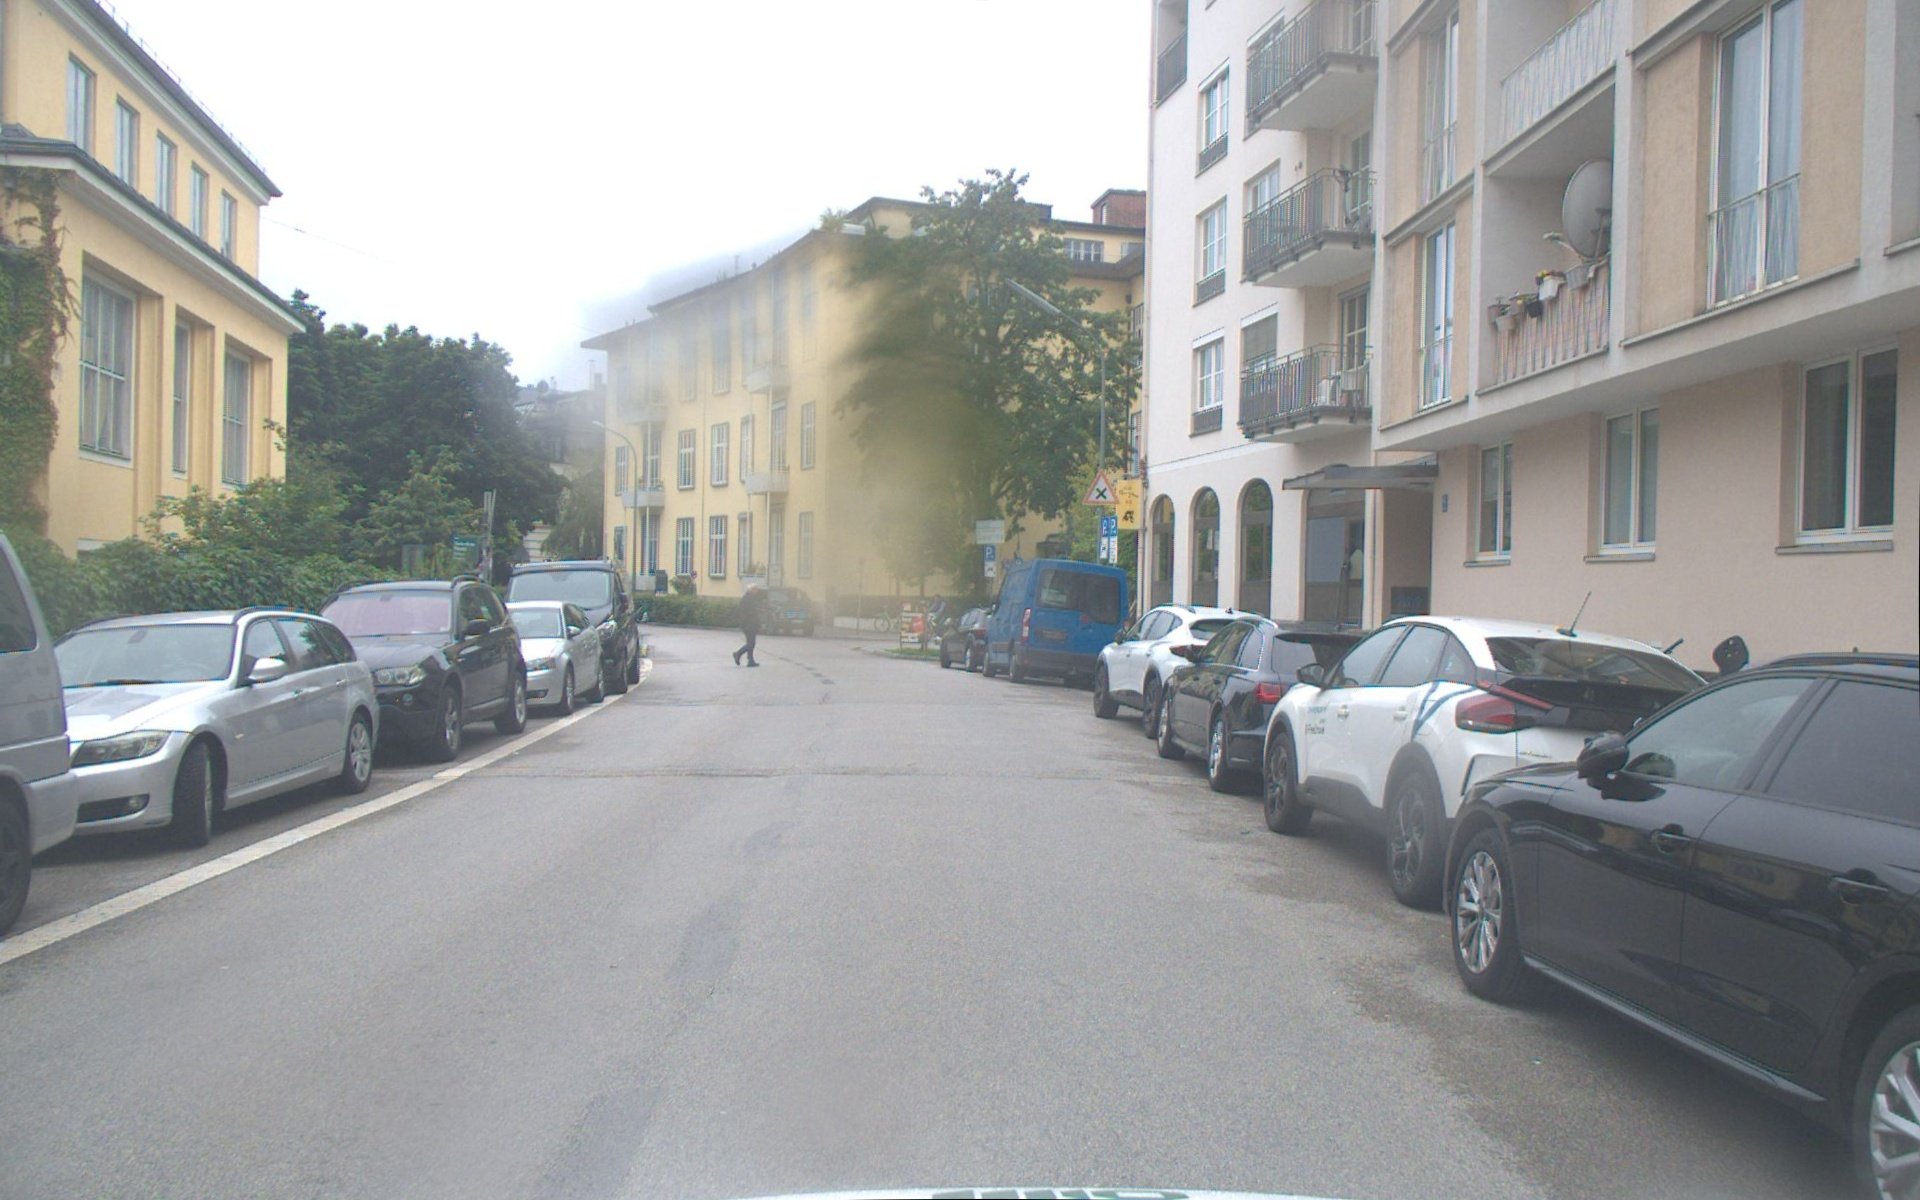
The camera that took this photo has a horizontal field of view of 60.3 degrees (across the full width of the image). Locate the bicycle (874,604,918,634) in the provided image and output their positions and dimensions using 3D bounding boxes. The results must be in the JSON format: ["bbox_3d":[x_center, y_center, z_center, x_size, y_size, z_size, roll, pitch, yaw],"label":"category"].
[{"bbox_3d":[-2.688,0.786,69.526,1.889,1.222,0.593,2,0,35],"label":"bicycle"}]

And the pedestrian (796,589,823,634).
[{"bbox_3d":[-6.252,0.476,68.658,0.862,1.855,0.793,1,0,-22],"label":"pedestrian"}]

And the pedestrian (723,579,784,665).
[{"bbox_3d":[-4.510,0.481,36.085,0.918,1.832,0.951,-2,-2,40],"label":"pedestrian"}]

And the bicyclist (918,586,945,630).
[{"bbox_3d":[-1.064,0.294,61.882,0.848,1.636,0.944,1,-1,-11],"label":"bicyclist"}]

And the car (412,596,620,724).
[{"bbox_3d":[-5.645,0.692,21.554,1.660,1.417,4.498,-1,1,-3],"label":"car"}]

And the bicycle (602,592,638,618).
[{"bbox_3d":[-17.950,0.262,87.429,0.717,1.328,2.155,1,0,25],"label":"bicycle"}]

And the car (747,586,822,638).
[{"bbox_3d":[-7.295,0.481,68.412,1.739,1.907,4.348,5,-1,-23],"label":"car"}]

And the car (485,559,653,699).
[{"bbox_3d":[-6.186,0.414,26.784,2.033,1.998,5.341,-1,0,-7],"label":"car"}]

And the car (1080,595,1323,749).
[{"bbox_3d":[2.833,0.793,20.505,1.751,1.560,4.641,4,0,-7],"label":"car"}]

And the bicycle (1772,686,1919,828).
[{"bbox_3d":[6.672,1.155,12.488,0.370,0.921,1.391,1,0,-1],"label":"bicycle"}]

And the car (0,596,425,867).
[{"bbox_3d":[-5.283,0.732,11.498,1.620,1.439,4.770,-2,0,-1],"label":"car"}]

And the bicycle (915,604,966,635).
[{"bbox_3d":[-0.798,0.791,68.406,2.023,1.222,0.596,1,0,12],"label":"bicycle"}]

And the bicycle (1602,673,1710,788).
[{"bbox_3d":[6.279,1.156,14.971,0.370,0.921,1.391,0,0,-1],"label":"bicycle"}]

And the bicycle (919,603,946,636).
[{"bbox_3d":[-1.038,0.714,61.695,0.658,1.179,1.998,1,0,-11],"label":"bicycle"}]

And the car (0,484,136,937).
[{"bbox_3d":[-5.004,0.500,5.775,1.849,1.922,4.773,-2,0,-1],"label":"car"}]

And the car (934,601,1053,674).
[{"bbox_3d":[0.707,0.826,38.279,1.649,1.413,4.290,5,-1,-14],"label":"car"}]

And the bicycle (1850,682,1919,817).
[{"bbox_3d":[7.105,1.104,12.130,0.370,0.921,1.391,1,0,-1],"label":"bicycle"}]

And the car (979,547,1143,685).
[{"bbox_3d":[1.846,0.356,32.167,2.040,2.272,5.234,5,-2,-8],"label":"car"}]

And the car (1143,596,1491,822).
[{"bbox_3d":[3.014,0.826,15.188,1.842,1.548,5.162,4,0,-2],"label":"car"}]

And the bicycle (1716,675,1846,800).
[{"bbox_3d":[6.872,1.129,13.896,0.370,0.921,1.391,1,0,-1],"label":"bicycle"}]

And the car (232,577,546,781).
[{"bbox_3d":[-5.397,0.652,16.255,1.663,1.671,4.488,-2,0,-3],"label":"car"}]

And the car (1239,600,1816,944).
[{"bbox_3d":[3.095,0.827,10.156,1.661,1.515,4.577,3,0,-4],"label":"car"}]

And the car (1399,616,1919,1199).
[{"bbox_3d":[3.059,0.845,5.211,1.711,1.412,4.950,3,0,-4],"label":"car"}]

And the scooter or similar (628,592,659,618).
[{"bbox_3d":[-16.182,0.261,84.698,0.716,1.328,2.158,1,0,13],"label":"scooter or similar"}]

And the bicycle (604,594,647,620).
[{"bbox_3d":[-17.268,0.352,85.417,0.721,1.328,2.143,1,0,42],"label":"bicycle"}]
